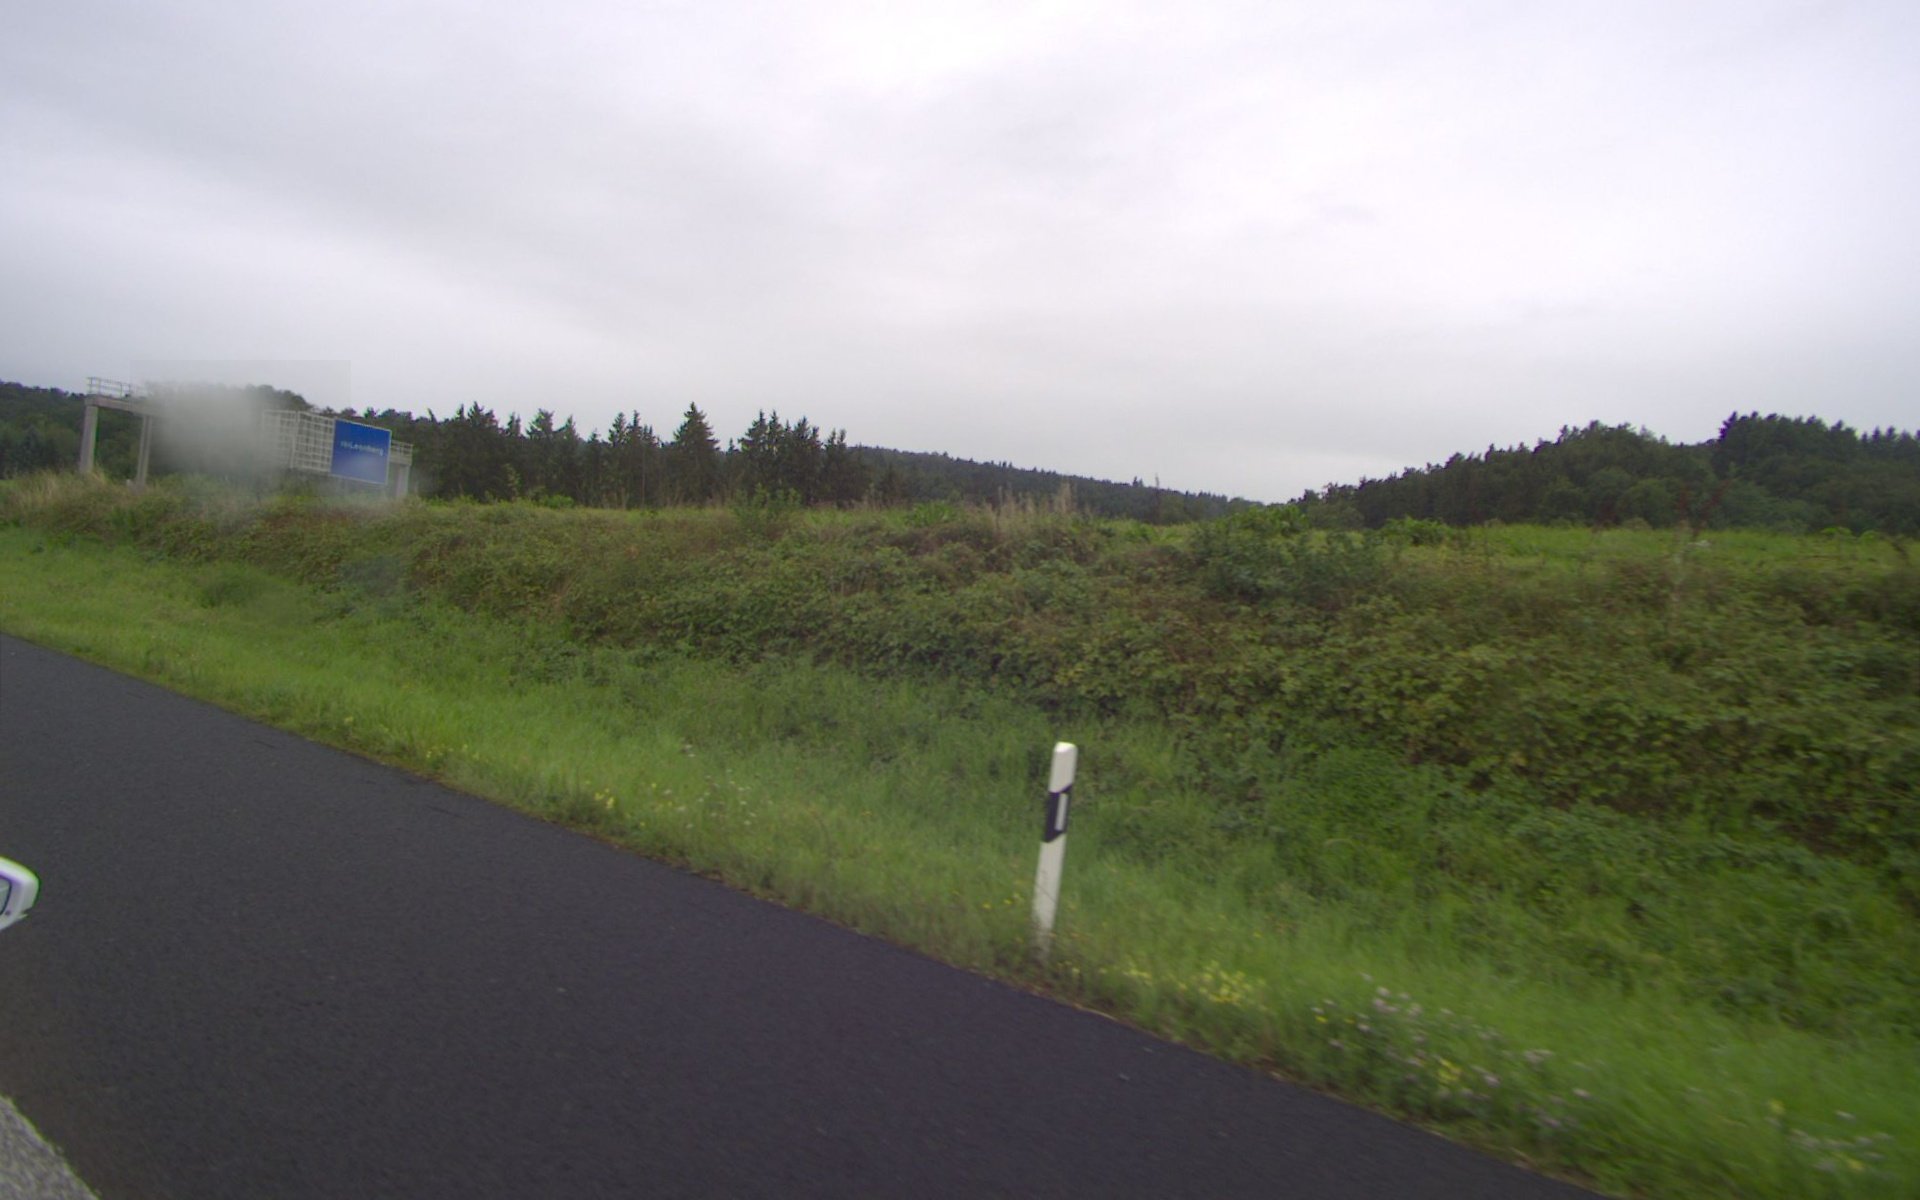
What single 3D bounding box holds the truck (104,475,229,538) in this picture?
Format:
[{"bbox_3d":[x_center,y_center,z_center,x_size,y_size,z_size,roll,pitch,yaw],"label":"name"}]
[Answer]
[{"bbox_3d":[-61.101,-7.194,77.469,8.121,3.701,3.839,7,-2,23],"label":"truck"}]
